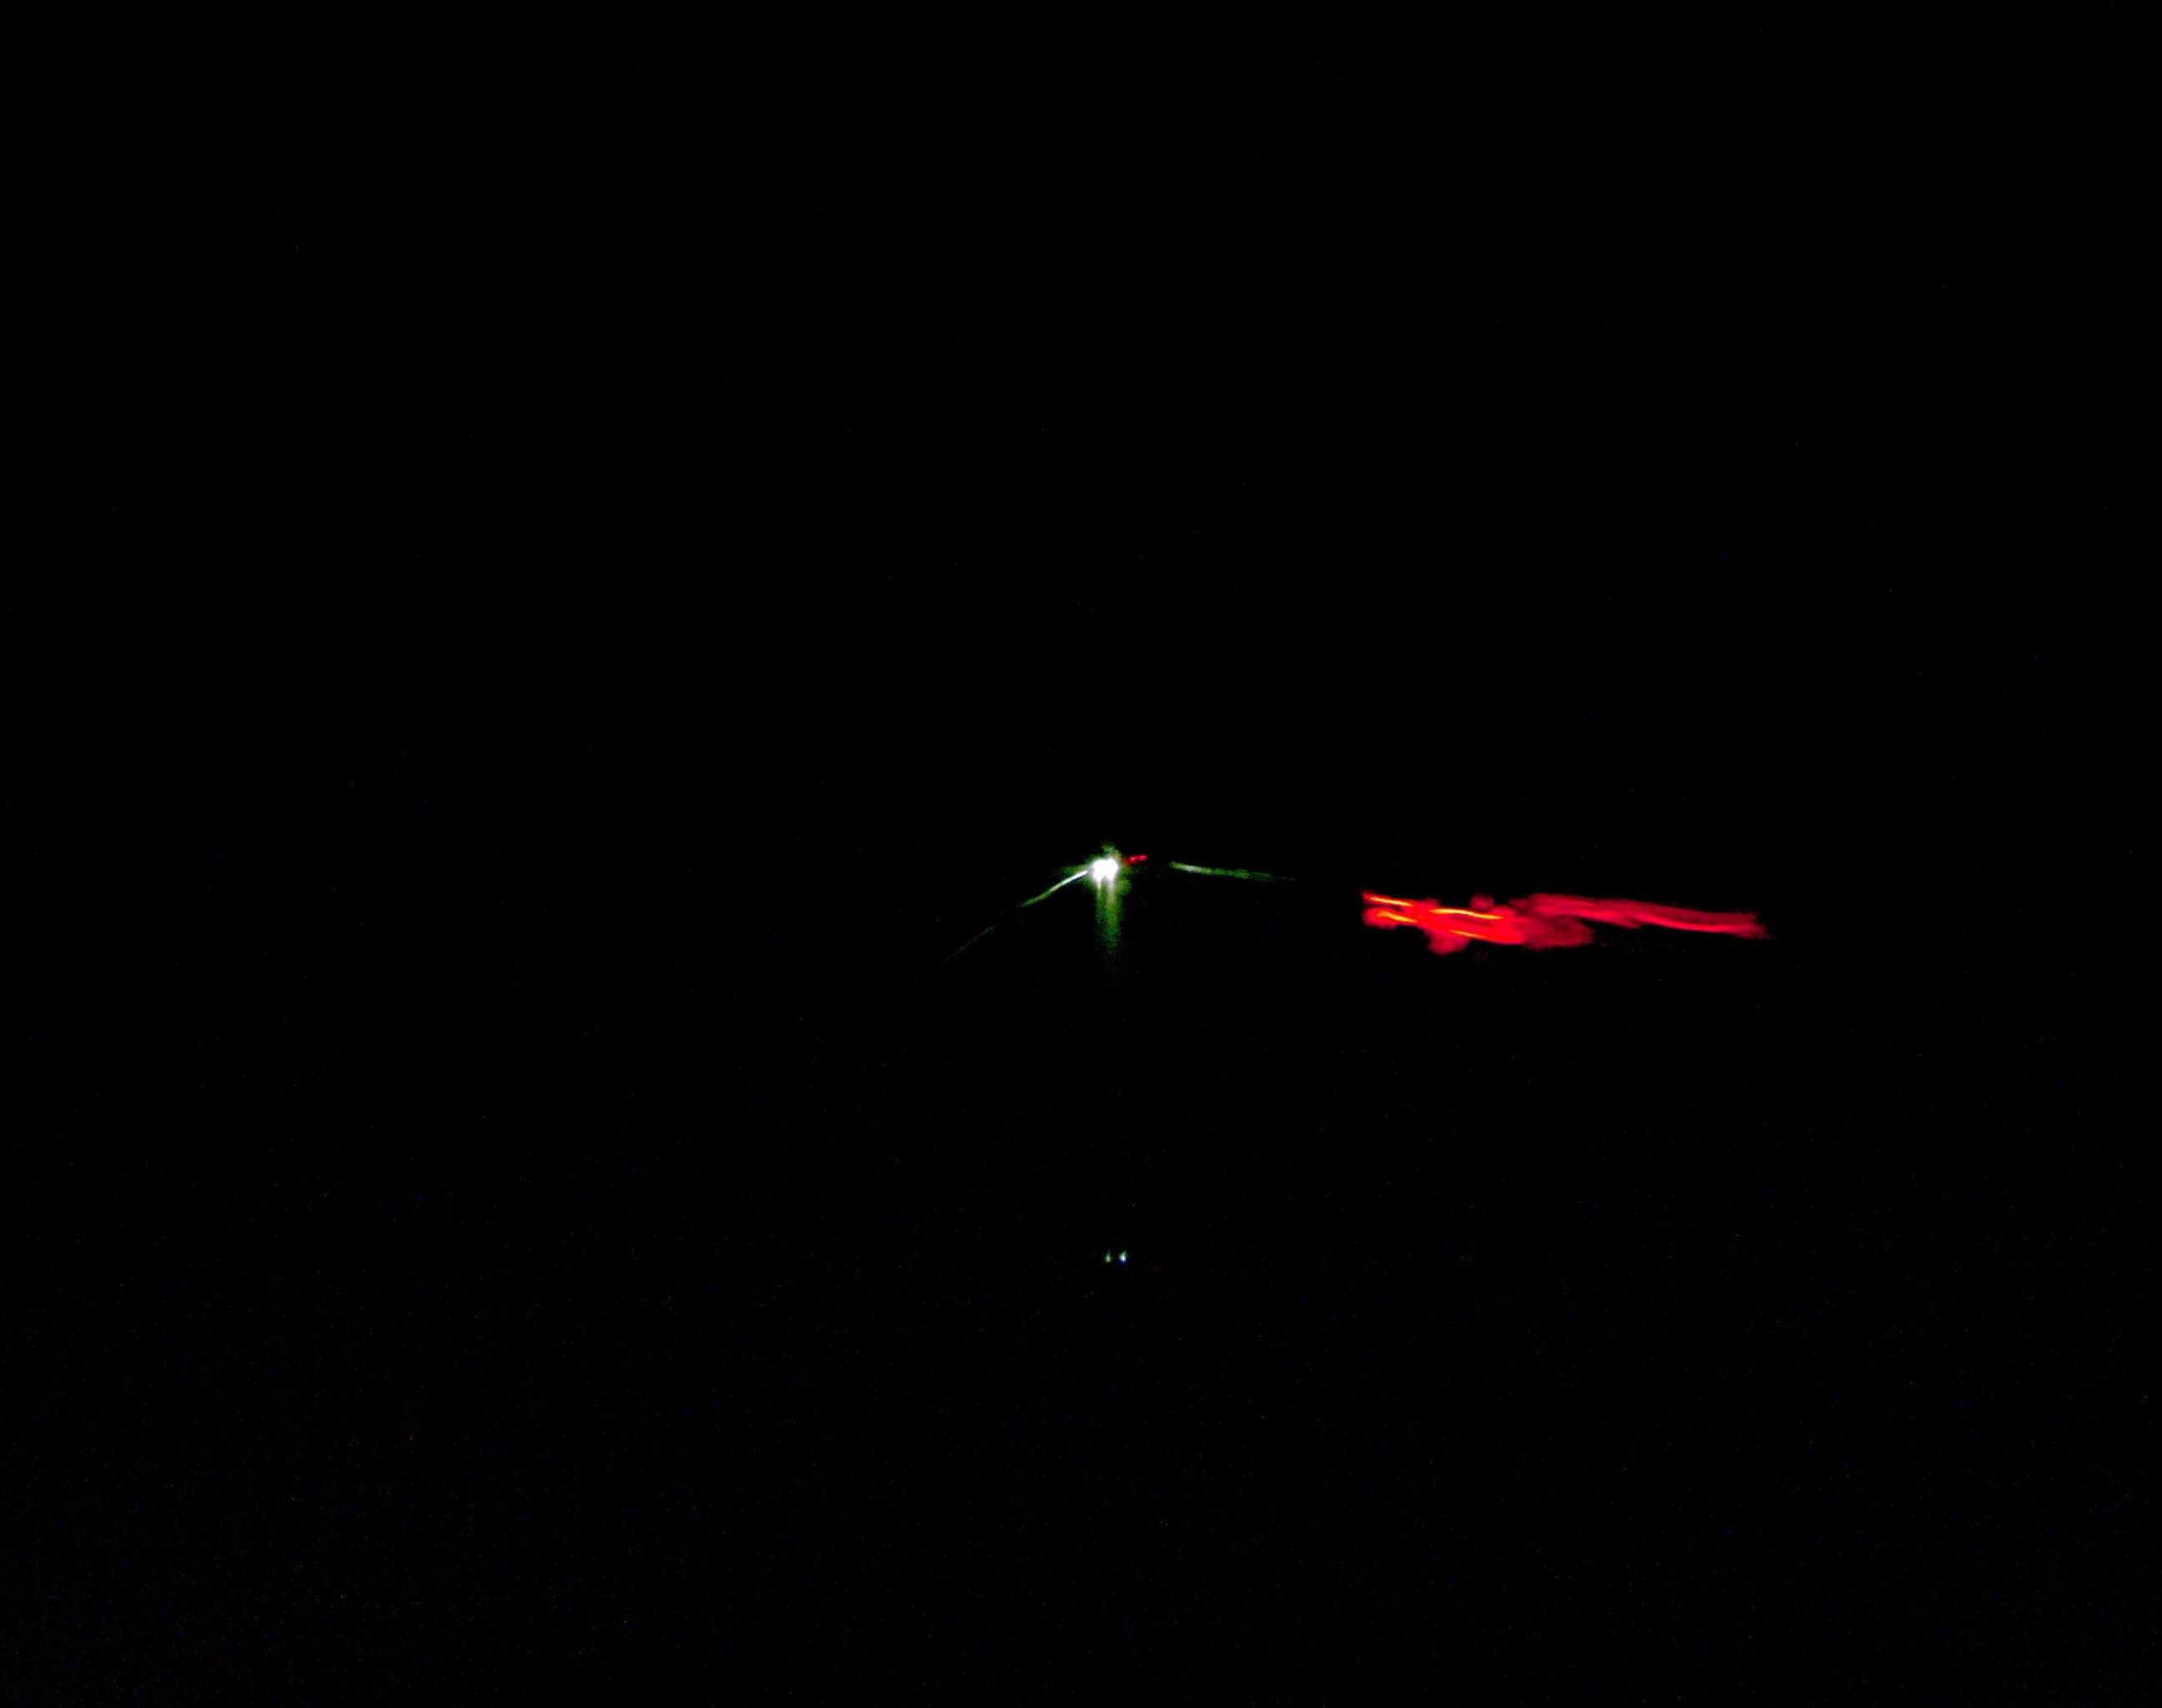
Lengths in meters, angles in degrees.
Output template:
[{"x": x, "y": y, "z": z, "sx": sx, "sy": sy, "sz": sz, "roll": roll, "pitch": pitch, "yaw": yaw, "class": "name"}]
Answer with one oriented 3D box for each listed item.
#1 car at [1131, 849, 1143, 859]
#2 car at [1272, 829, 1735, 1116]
[{"x": 8.867, "y": -0.020, "z": 120.504, "sx": 1.822, "sy": 1.546, "sz": 3.871, "roll": -1, "pitch": 1, "yaw": 2, "class": "car"}, {"x": 3.083, "y": 0.710, "z": 6.653, "sx": 1.776, "sy": 1.665, "sz": 4.054, "roll": -3, "pitch": 0, "yaw": 1, "class": "car"}]
